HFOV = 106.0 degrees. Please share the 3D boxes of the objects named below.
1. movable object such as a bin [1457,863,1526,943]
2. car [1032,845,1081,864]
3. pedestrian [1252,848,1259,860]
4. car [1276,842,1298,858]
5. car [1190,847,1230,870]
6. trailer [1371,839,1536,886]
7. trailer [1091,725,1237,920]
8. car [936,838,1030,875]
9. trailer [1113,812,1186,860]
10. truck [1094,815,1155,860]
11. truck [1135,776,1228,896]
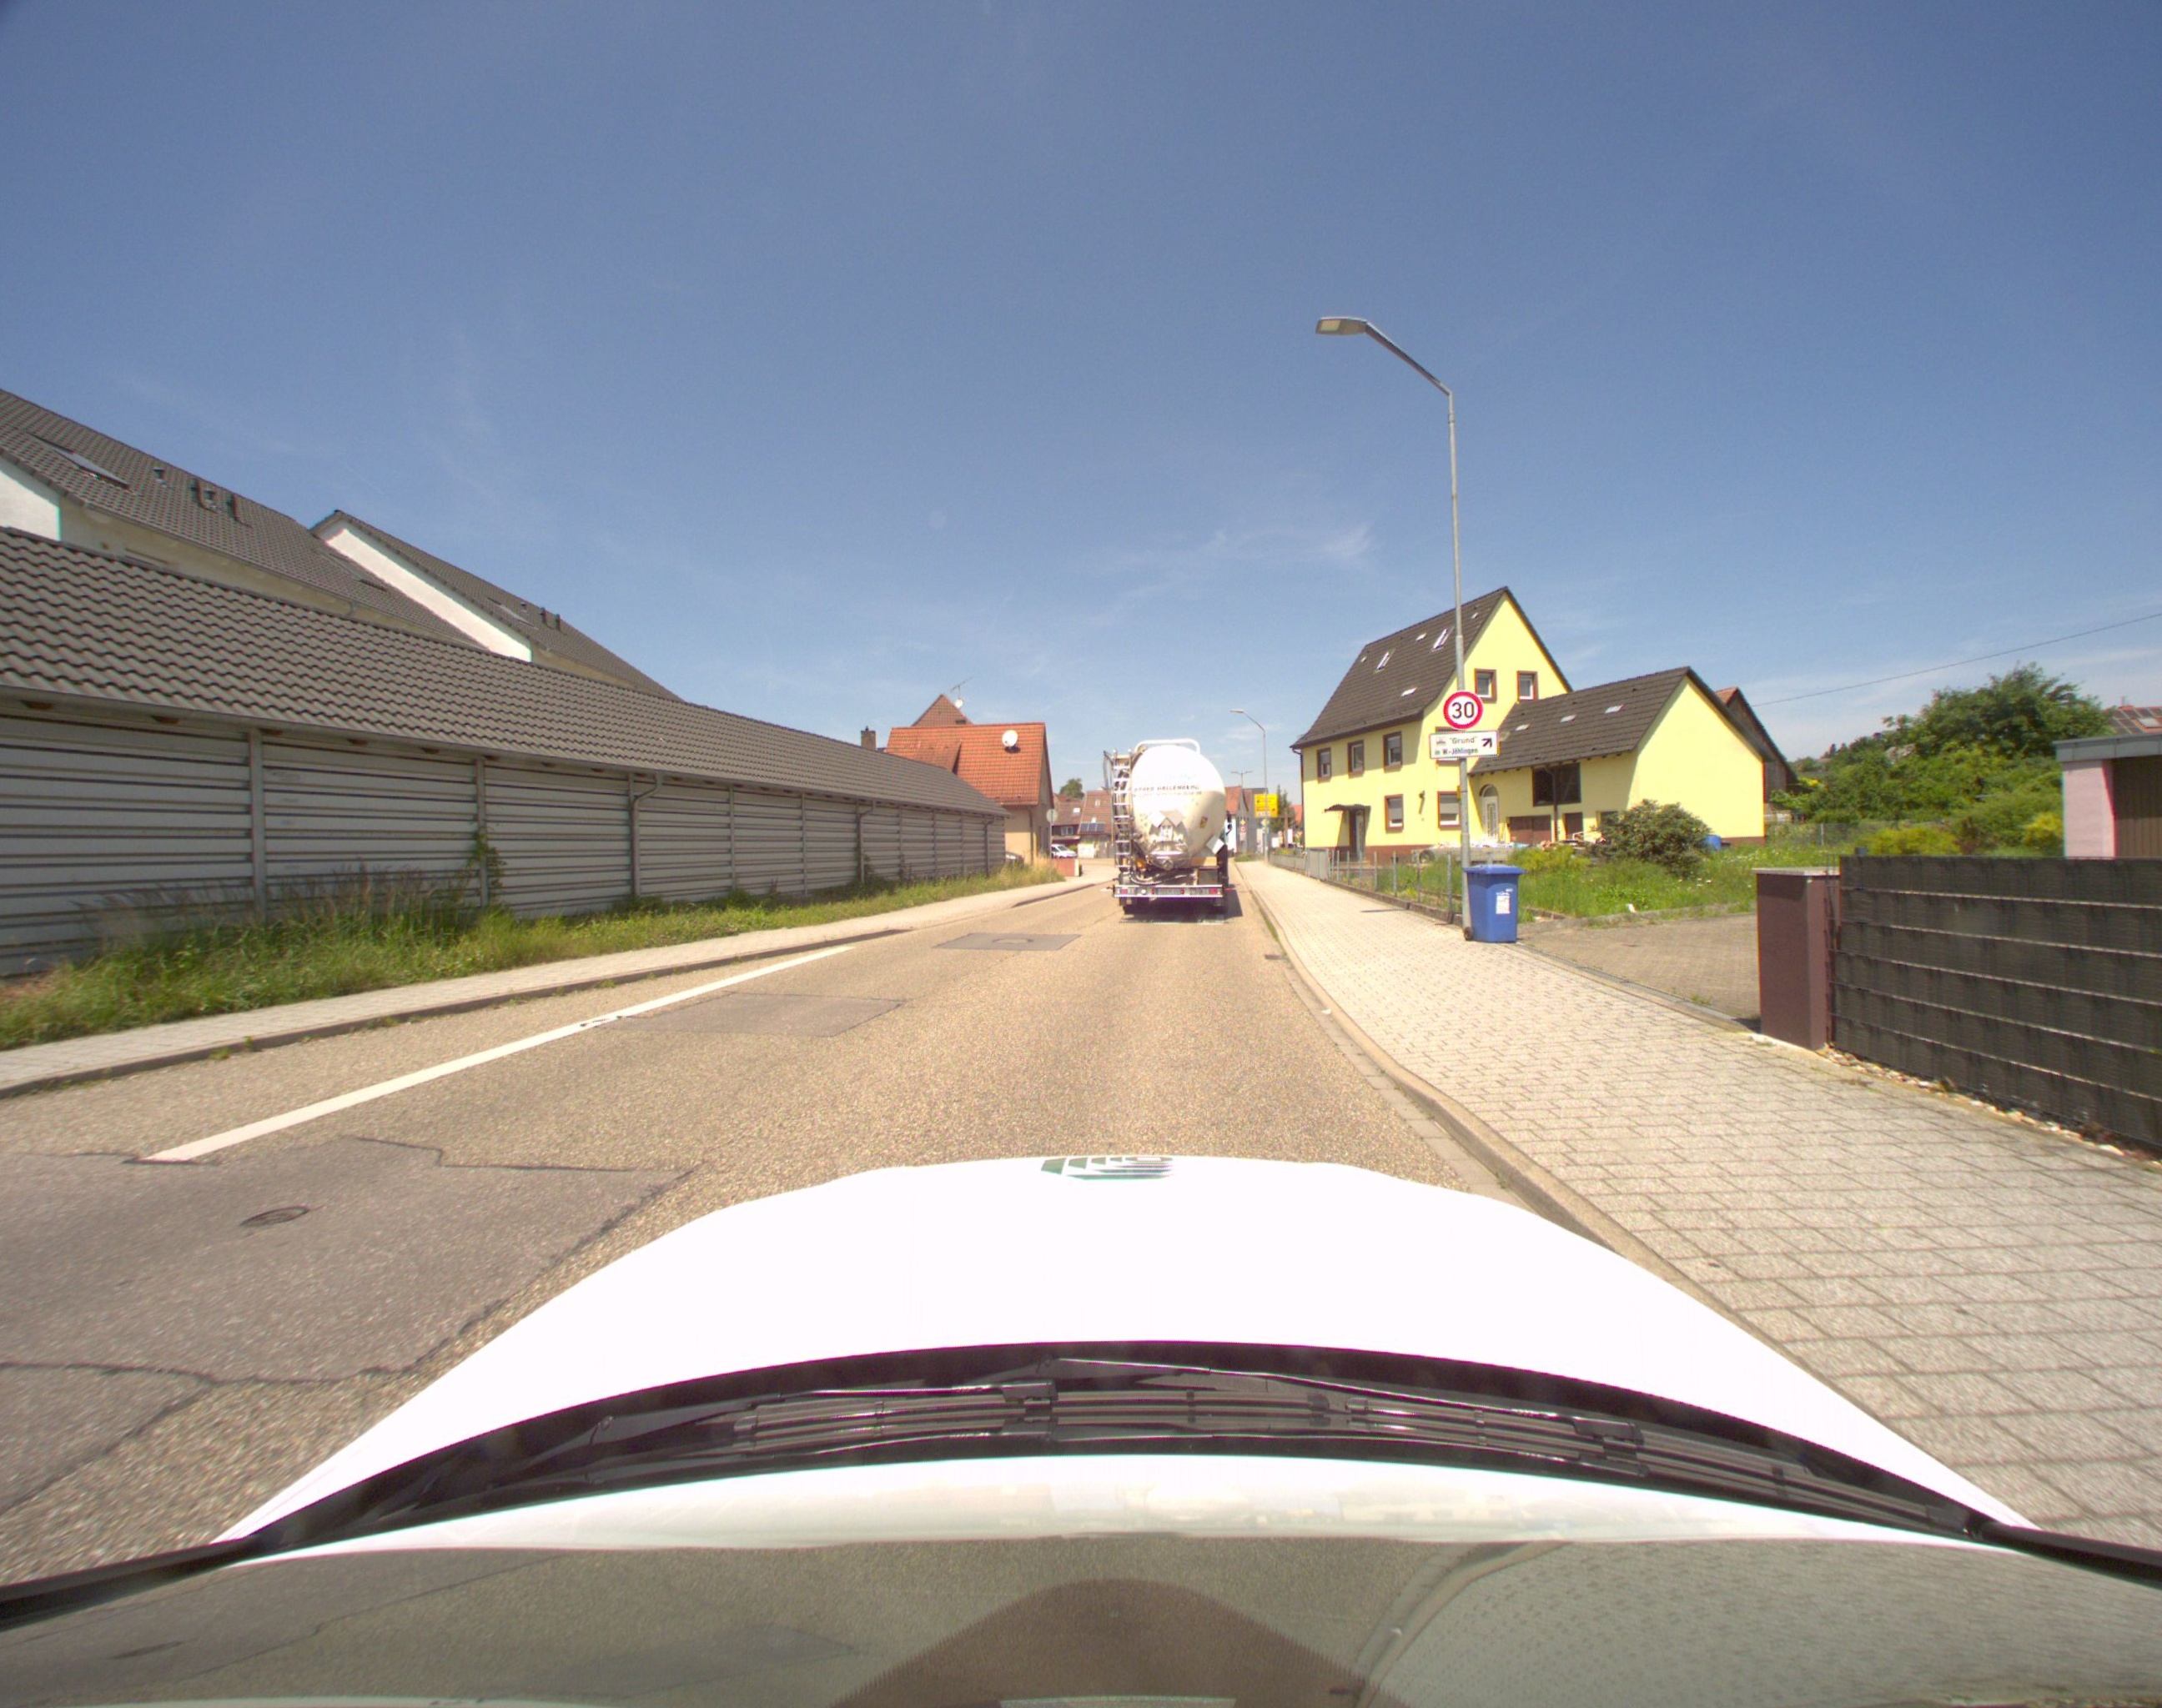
[{"bbox_3d":[5.702,0.670,11.334,0.564,1.057,0.650,-2,0,-6],"label":"movable object such as a bin"},{"bbox_3d":[-2.461,0.006,80.699,4.463,1.785,1.892,0,1,31],"label":"car"},{"bbox_3d":[28.375,0.028,132.433,0.761,2.013,0.983,0,0,30],"label":"pedestrian"},{"bbox_3d":[24.664,-0.455,97.439,1.976,1.912,4.347,0,-1,22],"label":"car"},{"bbox_3d":[8.664,0.320,54.925,1.838,1.486,3.996,-1,0,-3],"label":"car"},{"bbox_3d":[13.214,0.277,28.895,5.363,1.546,2.125,-1,0,-19],"label":"trailer"},{"bbox_3d":[2.587,-0.609,22.466,2.935,3.948,11.647,-1,0,9],"label":"trailer"},{"bbox_3d":[-4.717,0.127,39.505,4.097,1.638,1.871,-2,0,11],"label":"car"},{"bbox_3d":[6.428,-1.563,79.161,3.137,4.277,12.433,-1,0,-14],"label":"trailer"},{"bbox_3d":[4.440,-1.667,84.057,3.131,4.401,5.865,0,-1,-41],"label":"truck"},{"bbox_3d":[3.823,-0.584,29.829,2.969,3.965,5.595,-1,0,11],"label":"truck"}]
